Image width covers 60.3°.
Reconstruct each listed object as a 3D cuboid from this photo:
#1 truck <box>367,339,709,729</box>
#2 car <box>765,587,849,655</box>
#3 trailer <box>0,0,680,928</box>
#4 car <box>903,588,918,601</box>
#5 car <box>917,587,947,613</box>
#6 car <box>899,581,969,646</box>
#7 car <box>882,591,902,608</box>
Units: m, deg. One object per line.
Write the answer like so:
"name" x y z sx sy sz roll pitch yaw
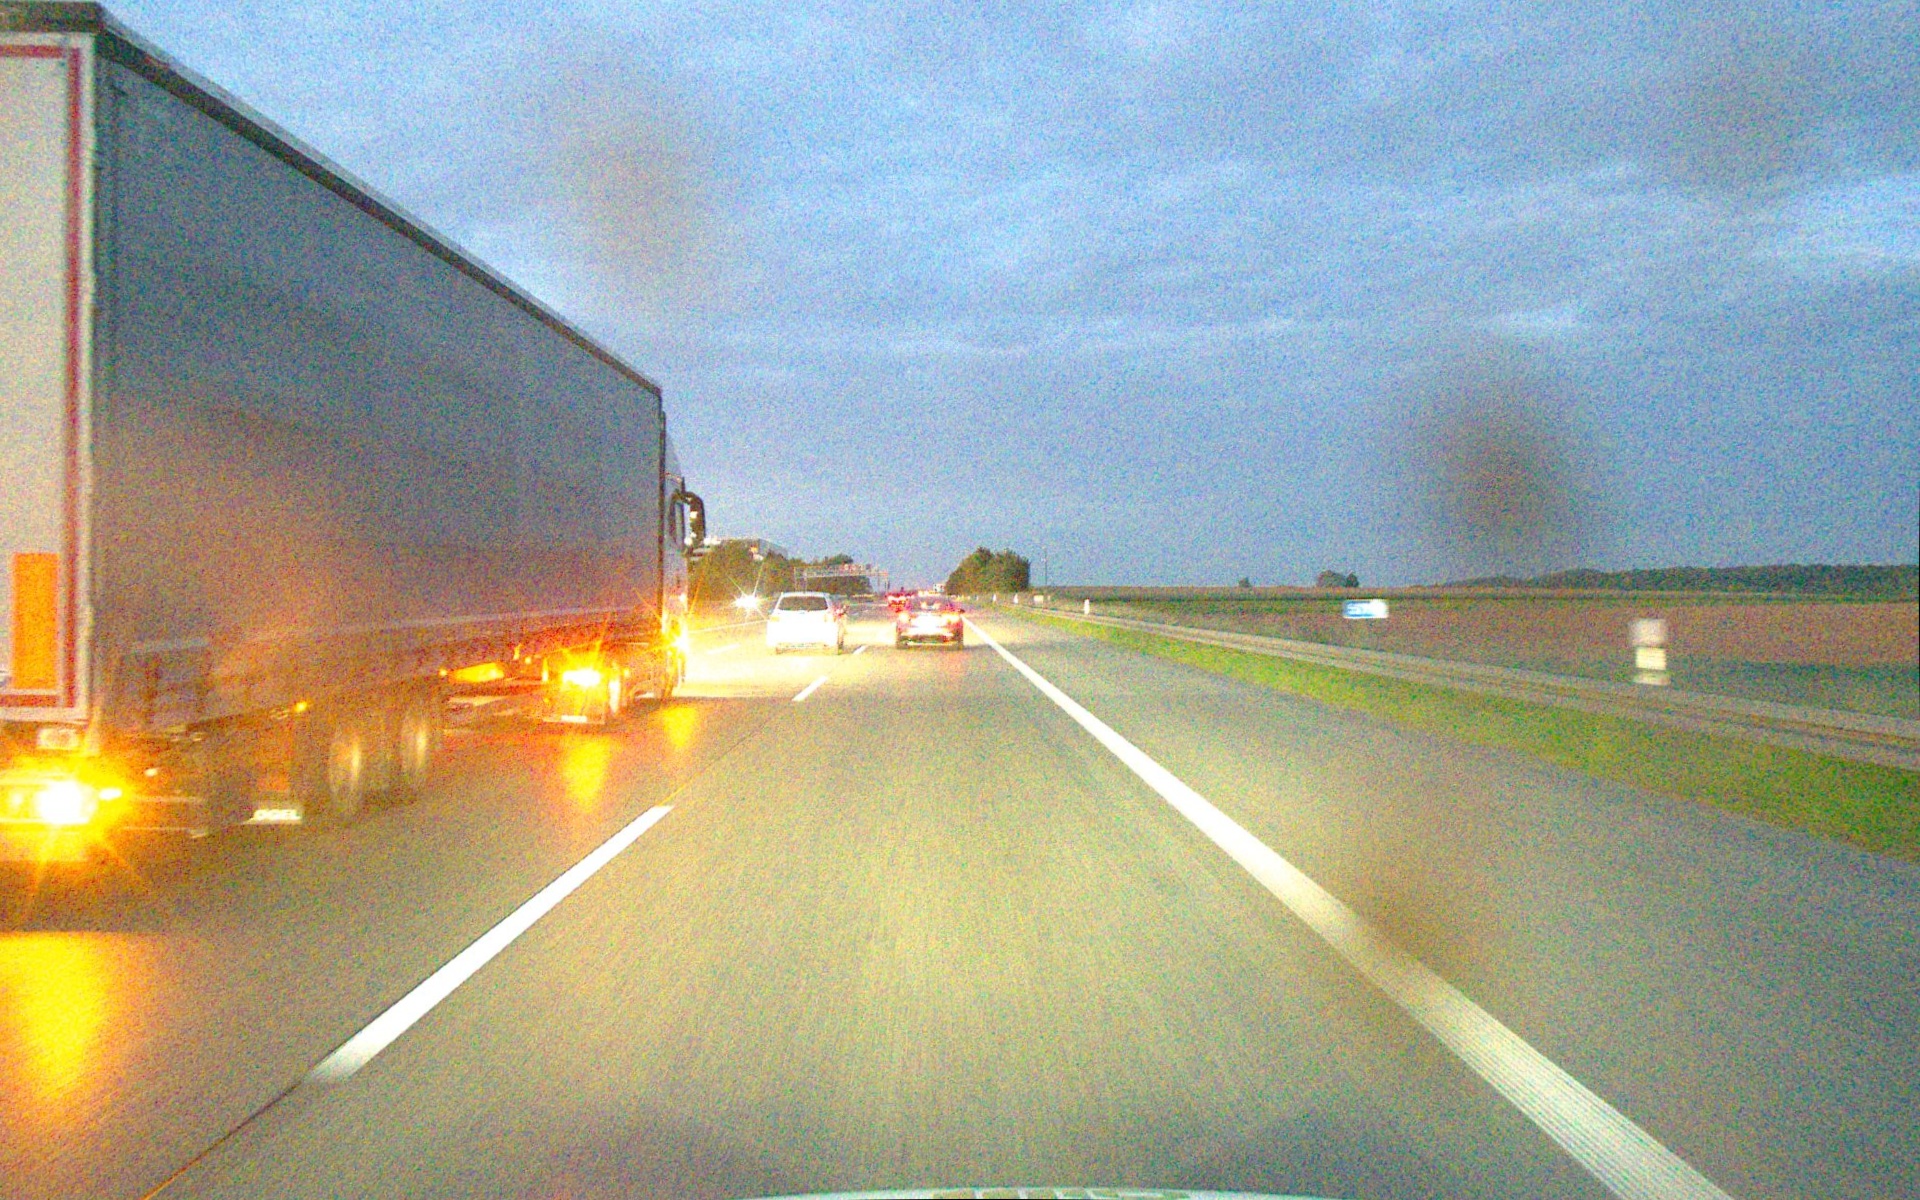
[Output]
"truck" -4.980 -0.698 20.755 2.721 4.164 6.102 0 0 0
"car" -3.745 0.504 41.113 1.709 1.551 4.413 1 0 -1
"trailer" -4.968 -0.698 14.030 2.737 4.157 14.524 0 0 0
"car" -7.562 -0.901 253.412 2.154 1.912 3.999 1 0 -1
"car" -1.791 0.006 103.647 1.842 1.579 3.999 1 0 -2
"car" -0.722 0.368 45.694 1.842 1.672 3.999 1 0 -1
"car" -6.802 -0.039 165.855 1.842 1.579 3.999 1 0 -2
